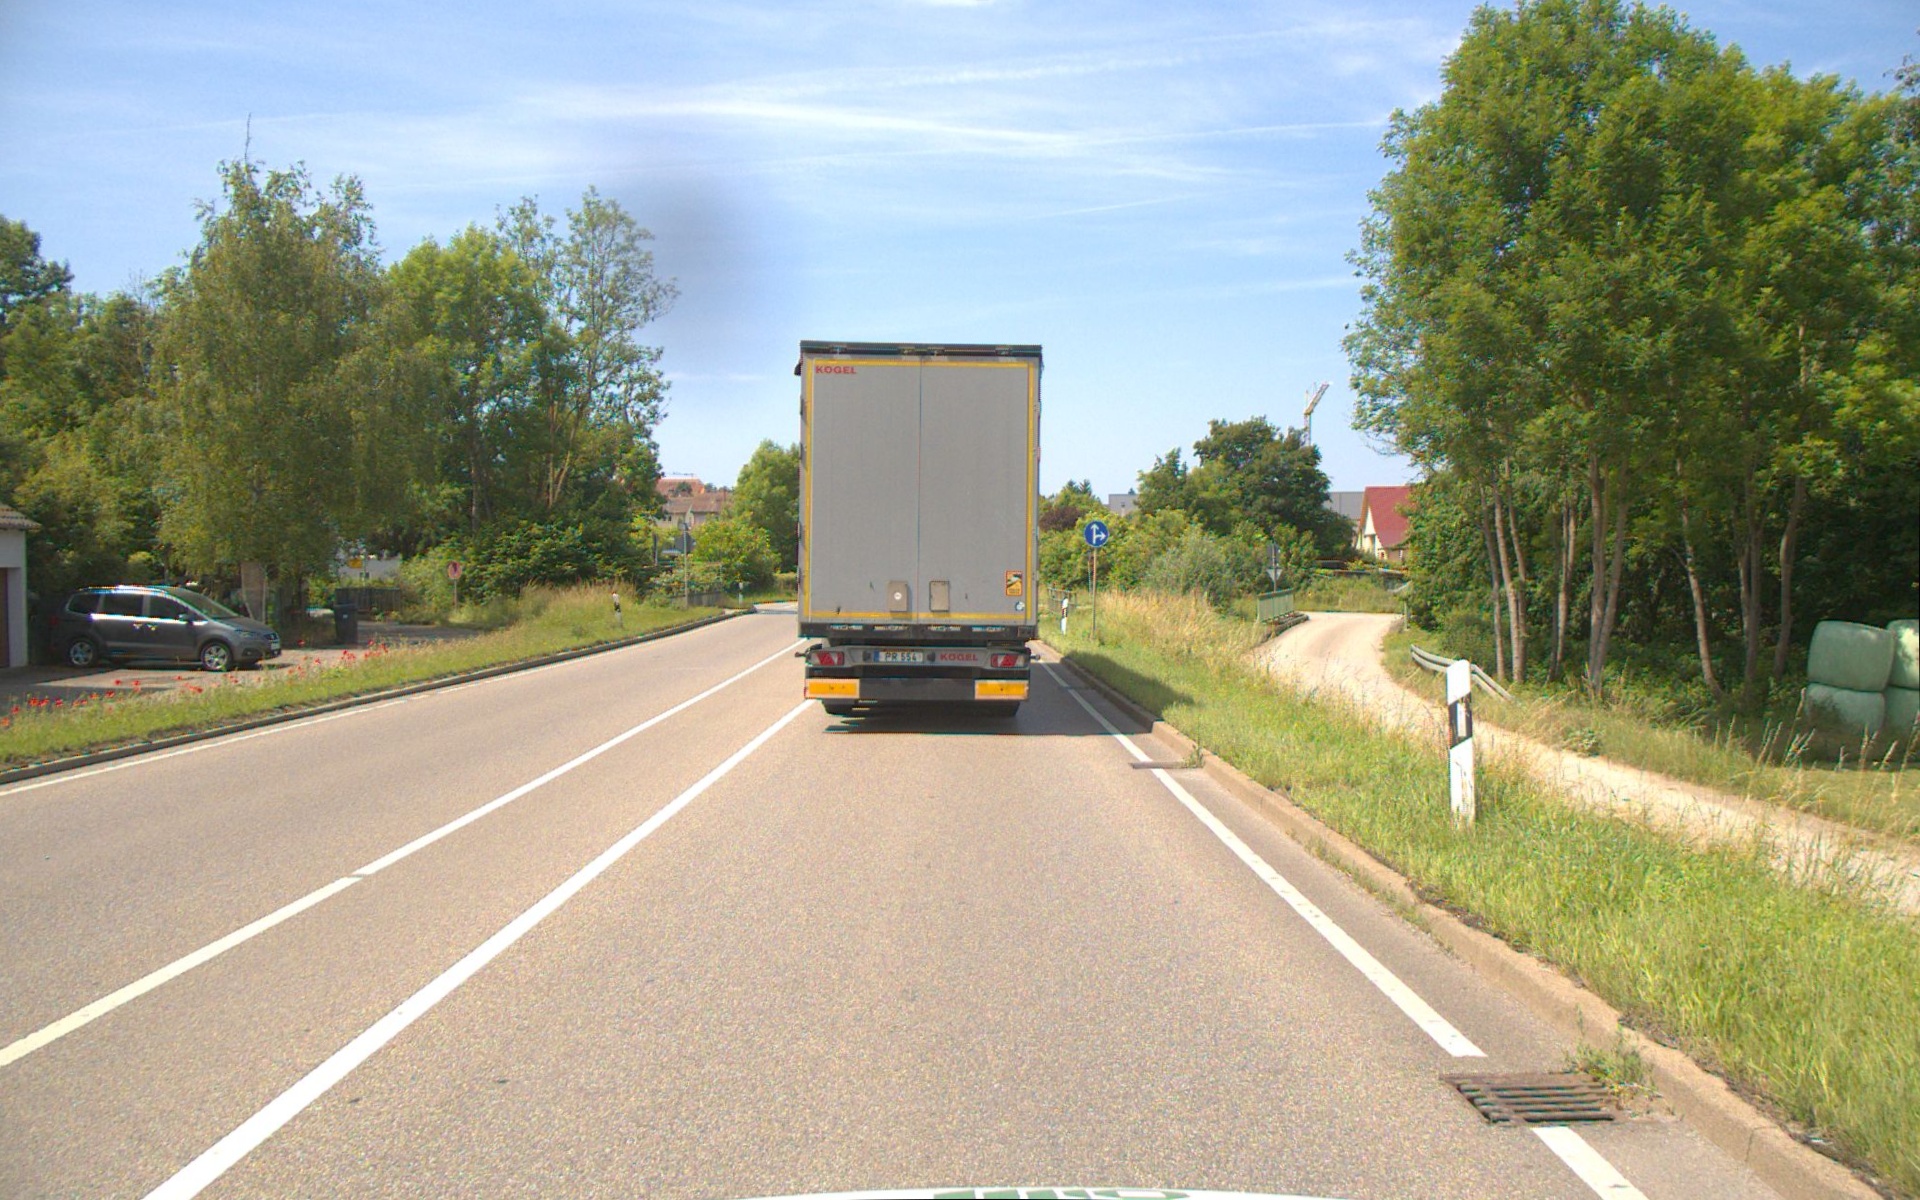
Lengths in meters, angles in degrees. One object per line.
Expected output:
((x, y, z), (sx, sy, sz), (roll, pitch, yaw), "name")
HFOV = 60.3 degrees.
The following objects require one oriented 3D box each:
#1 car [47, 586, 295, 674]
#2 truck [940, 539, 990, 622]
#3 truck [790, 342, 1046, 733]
((-17.410, 0.649, 36.670), (4.572, 1.750, 1.860), (1, 2, -5), "car")
((0.224, -1.100, 99.619), (2.592, 4.681, 10.812), (1, 0, -2), "truck")
((-0.526, -0.657, 21.353), (2.594, 3.985, 8.823), (0, 0, -1), "truck")
